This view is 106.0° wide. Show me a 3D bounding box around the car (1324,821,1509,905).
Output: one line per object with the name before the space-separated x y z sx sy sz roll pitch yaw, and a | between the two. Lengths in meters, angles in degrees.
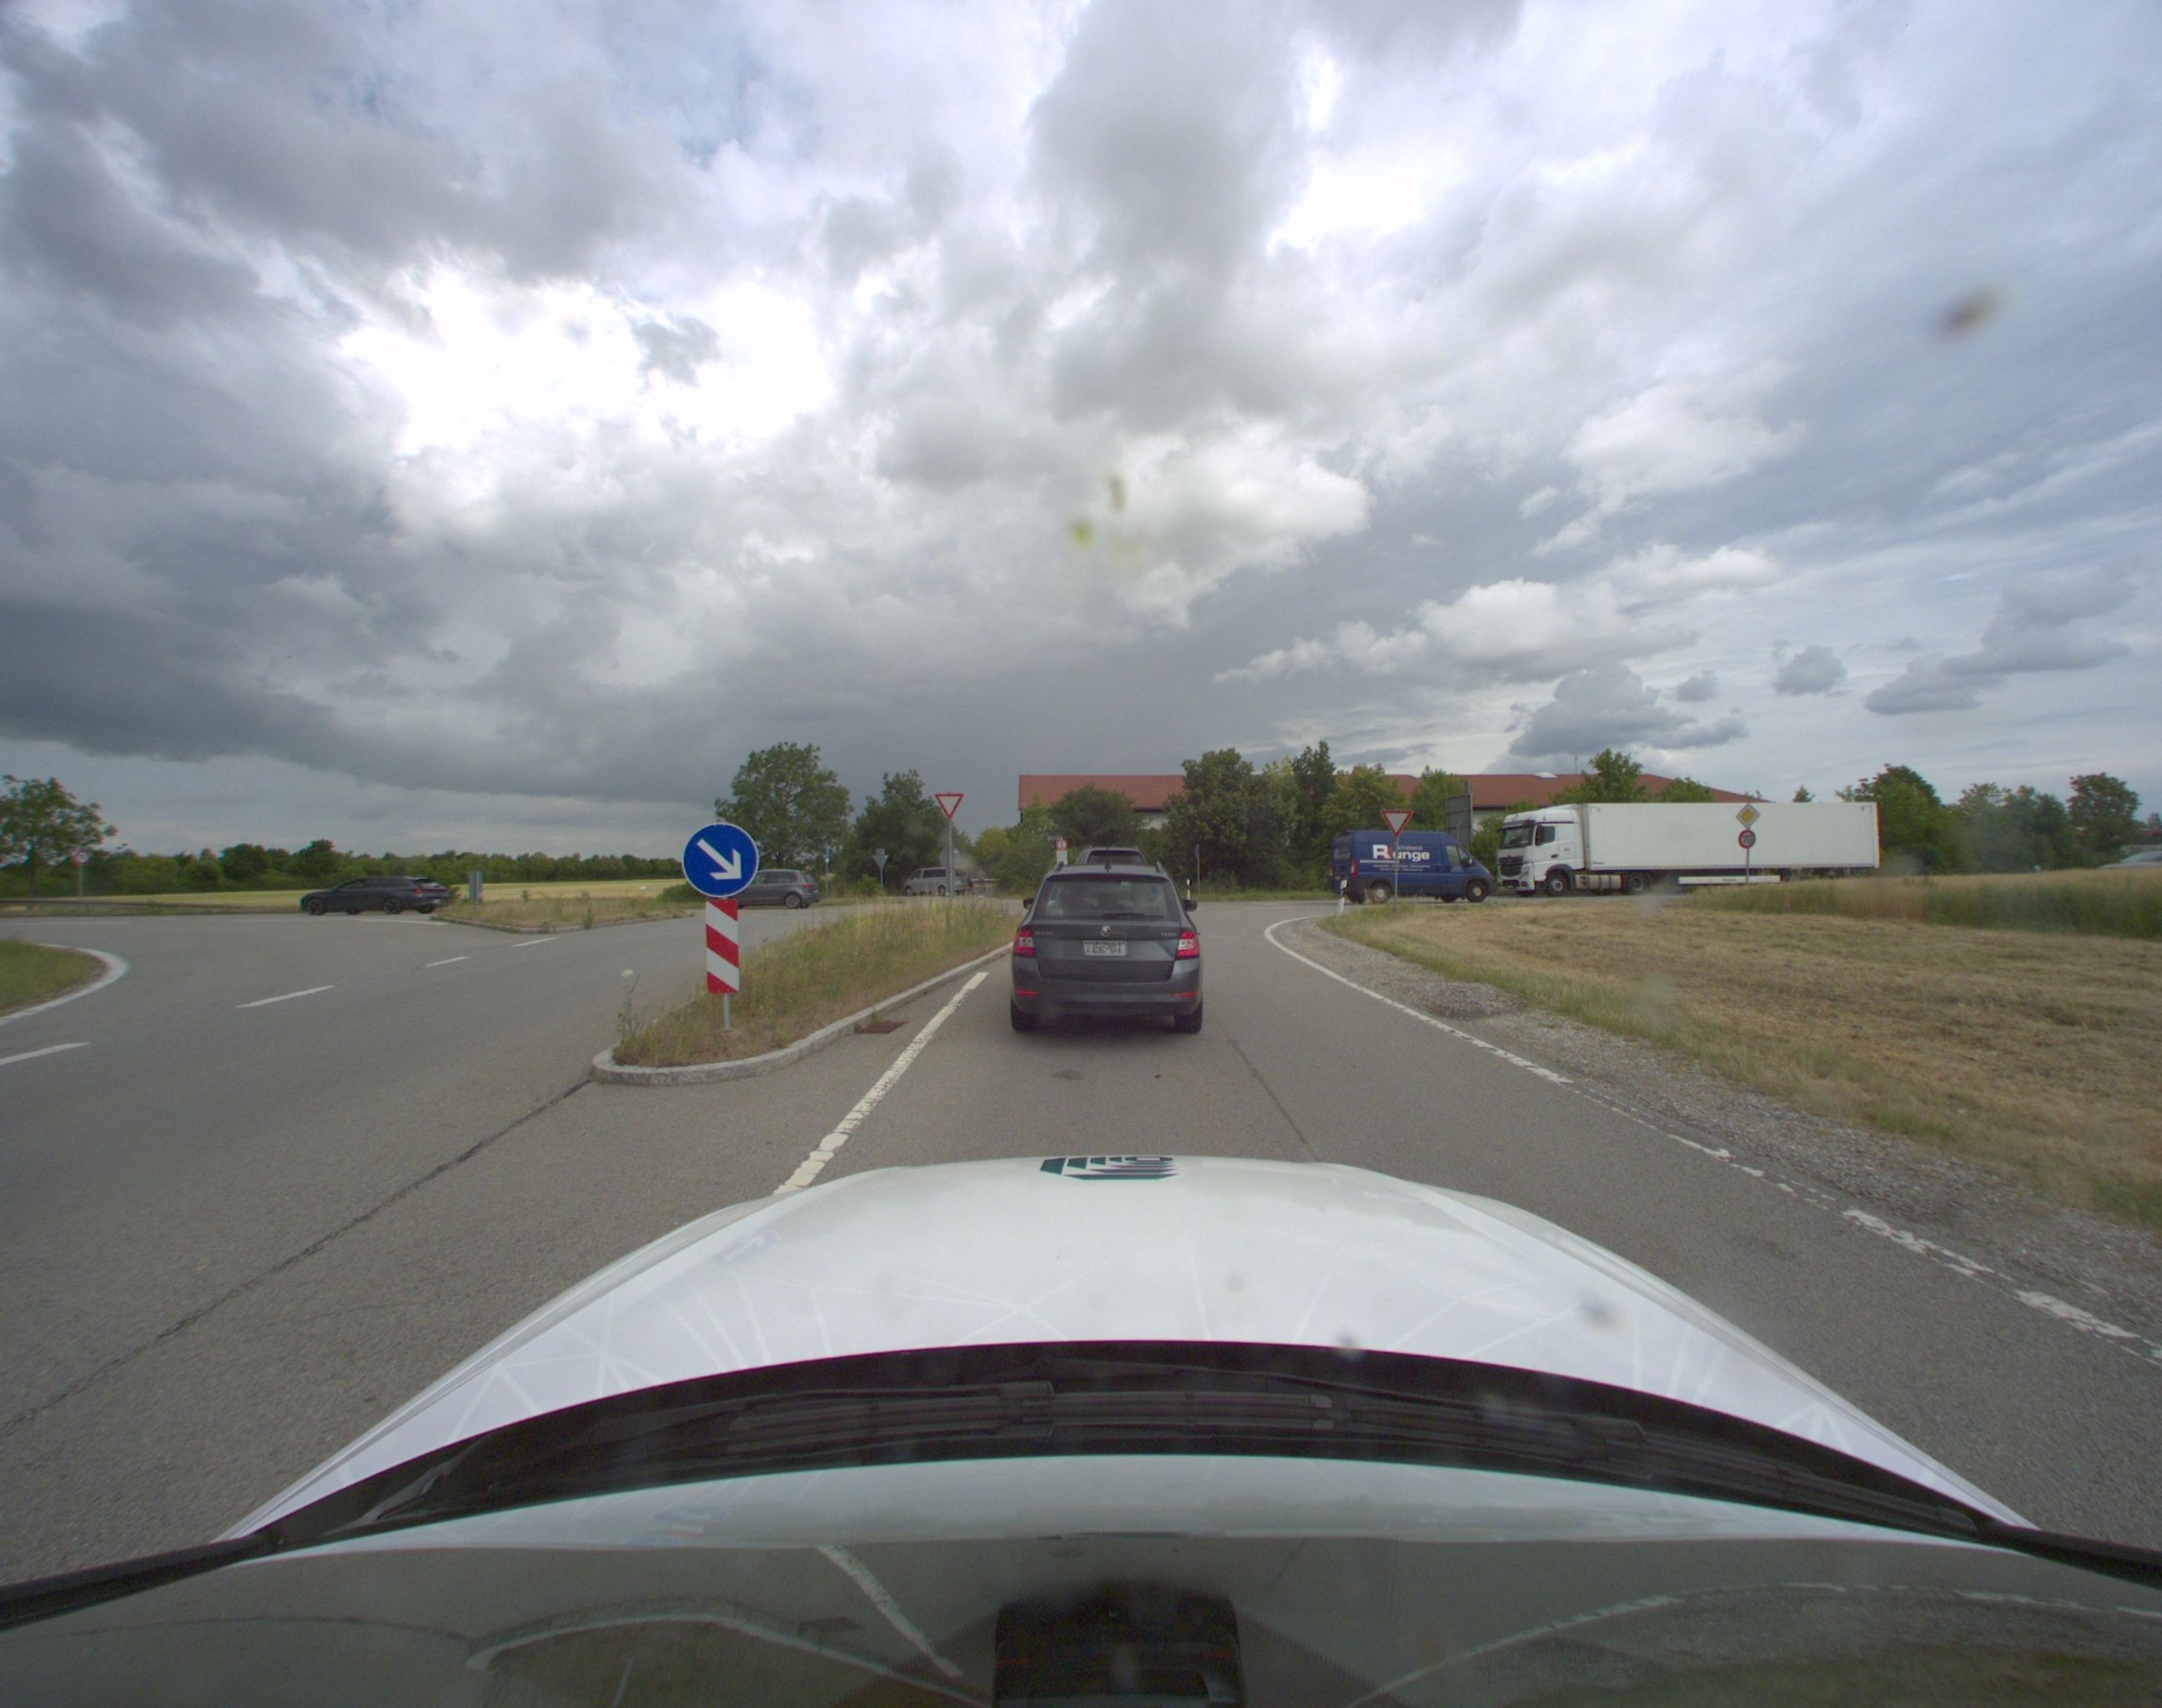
car | 11.560 0.294 28.324 5.540 2.639 2.147 -2 0 -4

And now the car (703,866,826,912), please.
car | -12.732 1.372 32.977 4.205 1.601 1.996 -2 0 -6

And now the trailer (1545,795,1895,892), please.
trailer | 28.546 -0.441 36.676 13.814 4.015 3.124 -1 -2 -4

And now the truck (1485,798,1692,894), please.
truck | 22.348 -0.293 36.169 7.269 4.015 3.124 -1 -2 -4

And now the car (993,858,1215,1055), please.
car | 0.184 0.784 8.029 1.671 1.462 3.707 0 0 0

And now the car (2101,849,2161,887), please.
car | 50.559 0.629 37.775 4.460 1.682 1.995 -1 -2 -7

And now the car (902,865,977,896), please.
car | -9.928 1.815 57.094 4.851 2.013 2.357 -2 0 35

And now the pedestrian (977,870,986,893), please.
pedestrian | -7.176 1.979 58.797 0.582 1.682 0.565 -2 0 -5

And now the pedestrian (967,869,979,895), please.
pedestrian | -7.506 1.952 56.715 0.523 1.726 0.646 -2 0 34

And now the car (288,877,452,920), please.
car | -26.335 1.628 30.298 4.338 1.345 1.677 -1 0 -8

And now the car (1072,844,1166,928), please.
car | 0.786 0.747 19.797 1.988 1.775 4.641 -1 -1 -1
